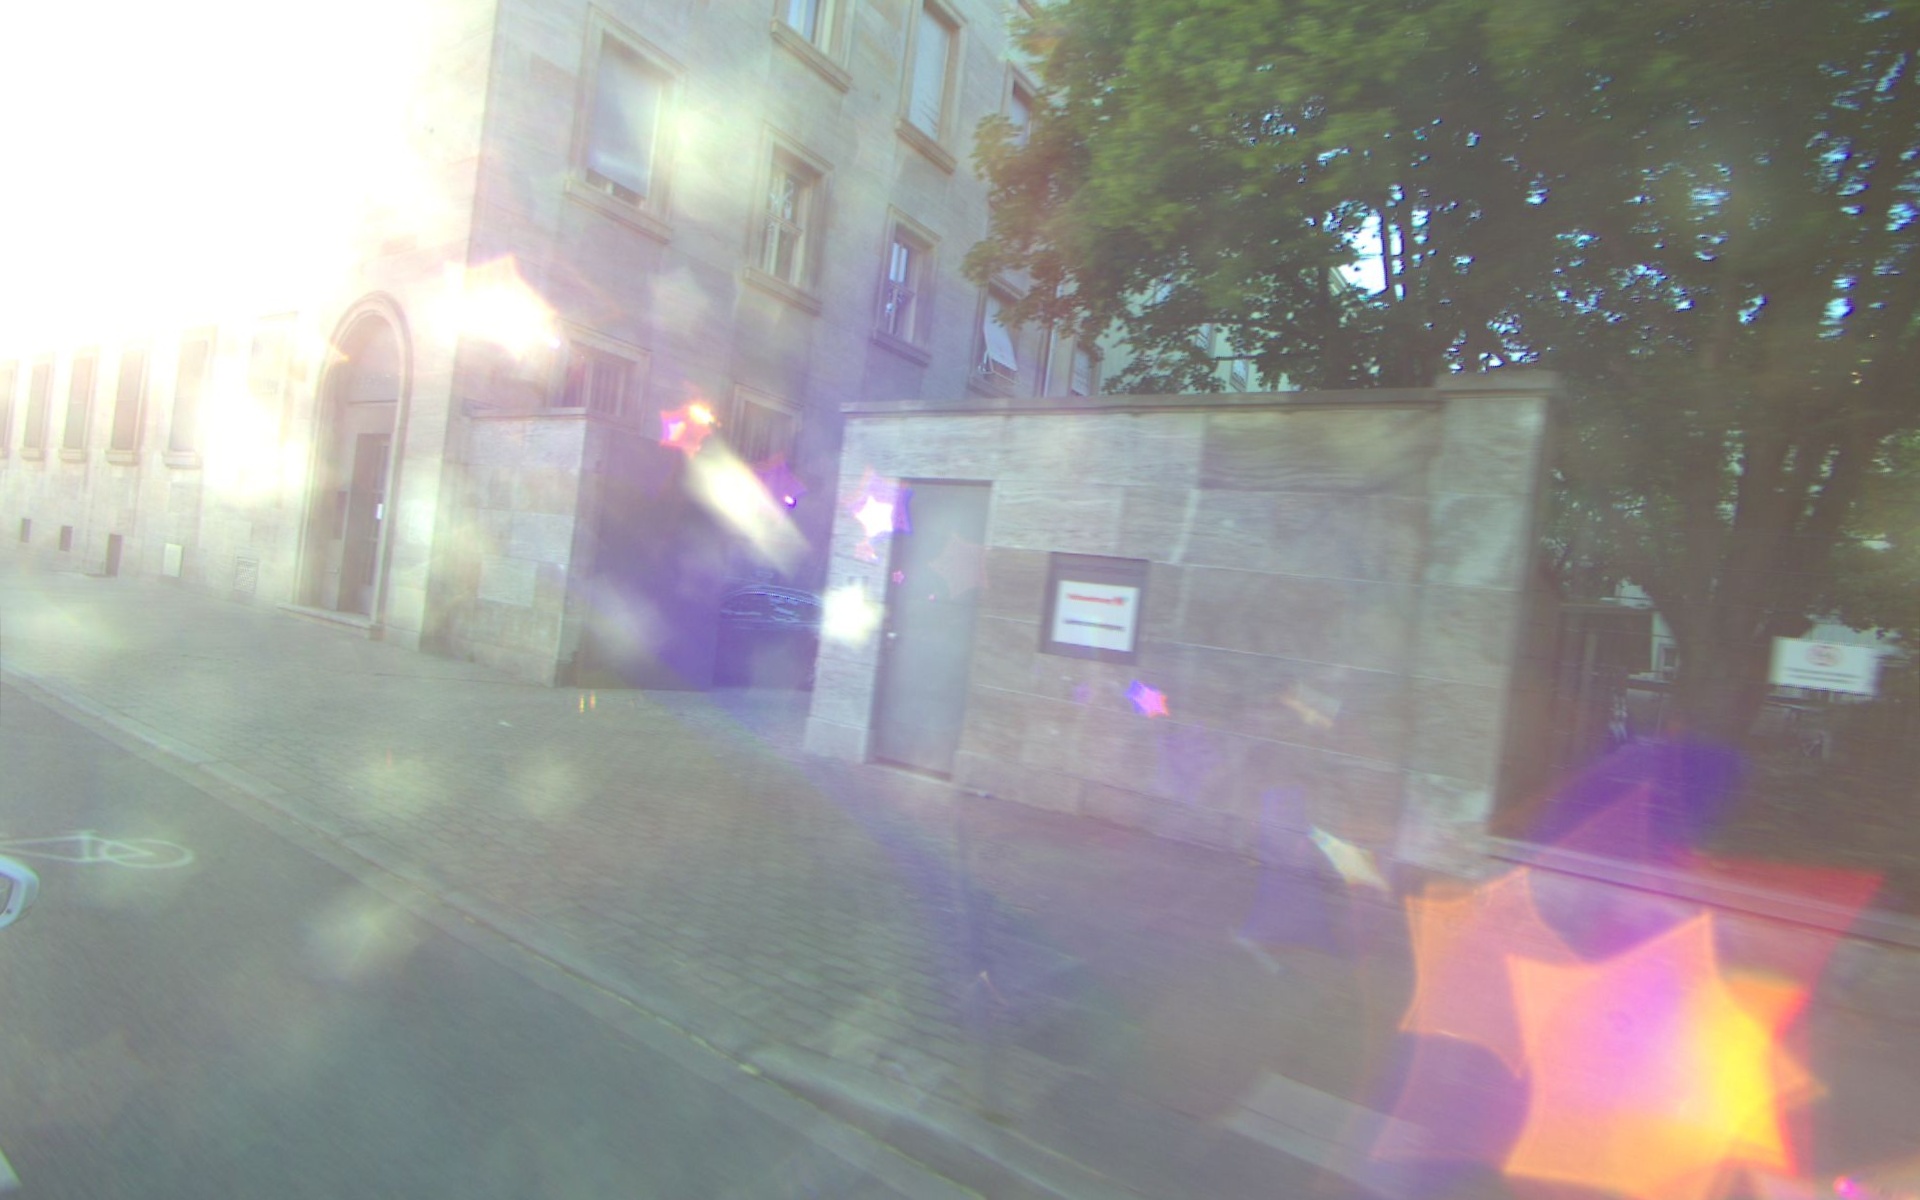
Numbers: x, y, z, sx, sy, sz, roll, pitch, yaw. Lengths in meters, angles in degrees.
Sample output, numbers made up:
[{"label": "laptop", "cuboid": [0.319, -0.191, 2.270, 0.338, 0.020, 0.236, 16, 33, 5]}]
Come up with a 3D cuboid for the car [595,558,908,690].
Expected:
[{"label": "car", "cuboid": [-3.031, 0.465, 15.650, 1.917, 1.551, 4.623, 9, 1, 33]}]
